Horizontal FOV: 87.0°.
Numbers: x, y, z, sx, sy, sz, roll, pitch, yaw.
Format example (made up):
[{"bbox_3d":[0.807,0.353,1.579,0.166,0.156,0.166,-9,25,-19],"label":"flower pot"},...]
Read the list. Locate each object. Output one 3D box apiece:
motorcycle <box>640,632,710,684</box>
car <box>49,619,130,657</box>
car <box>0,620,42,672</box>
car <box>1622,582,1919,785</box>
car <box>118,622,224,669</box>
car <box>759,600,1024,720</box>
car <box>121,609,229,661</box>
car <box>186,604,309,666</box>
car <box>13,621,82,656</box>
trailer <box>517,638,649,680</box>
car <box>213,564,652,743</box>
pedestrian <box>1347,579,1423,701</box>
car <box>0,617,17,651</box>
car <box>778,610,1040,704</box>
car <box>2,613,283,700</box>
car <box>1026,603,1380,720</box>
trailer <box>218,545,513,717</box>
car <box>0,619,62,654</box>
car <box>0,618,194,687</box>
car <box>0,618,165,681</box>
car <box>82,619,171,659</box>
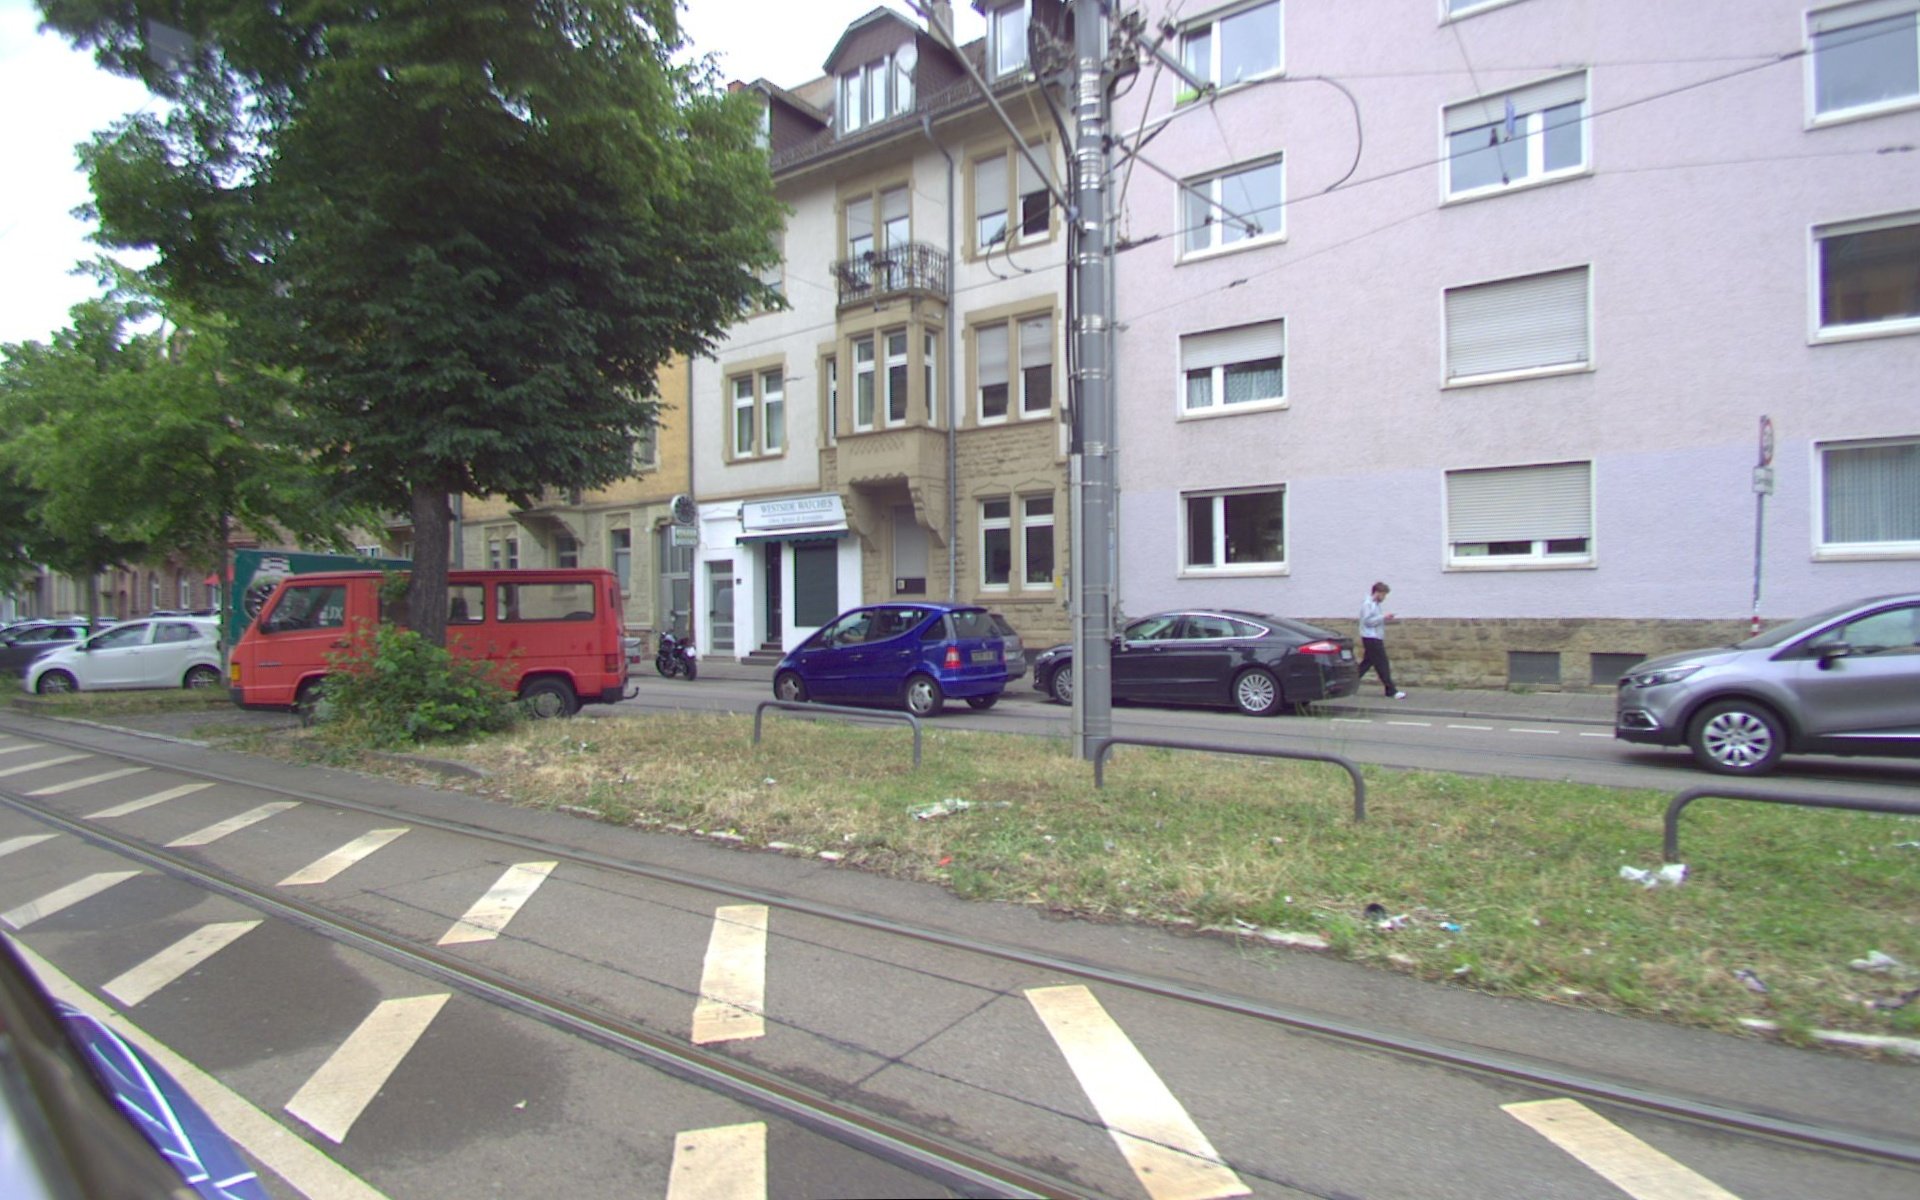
[{"bbox_3d":[-6.315,1.245,22.370,0.699,1.046,2.235,0,0,-38],"label":"motorcycle"},{"bbox_3d":[-39.458,1.680,45.845,4.543,1.639,1.725,-1,0,35],"label":"car"},{"bbox_3d":[-29.801,1.384,29.578,4.049,1.495,1.802,-1,0,-14],"label":"car"},{"bbox_3d":[7.898,0.626,8.287,4.121,1.546,1.630,-1,0,34],"label":"car"},{"bbox_3d":[-25.560,1.436,32.750,3.874,1.393,1.630,-1,0,35],"label":"car"},{"bbox_3d":[-1.043,0.805,14.813,3.619,1.546,1.631,-1,0,33],"label":"car"},{"bbox_3d":[-29.672,1.281,38.213,5.105,1.795,1.798,-1,0,35],"label":"car"},{"bbox_3d":[-24.716,1.169,35.052,5.082,1.967,1.865,-1,0,35],"label":"car"},{"bbox_3d":[-43.768,1.832,48.529,3.713,1.571,1.648,-1,0,35],"label":"car"},{"bbox_3d":[-8.956,1.369,23.981,3.068,0.899,1.442,-1,-2,34],"label":"trailer"},{"bbox_3d":[-6.418,0.592,12.972,4.687,1.989,1.965,-1,-1,-16],"label":"car"},{"bbox_3d":[6.466,0.594,15.391,0.898,1.780,0.791,-1,-1,34],"label":"pedestrian"},{"bbox_3d":[-44.576,1.547,46.087,3.874,1.515,1.630,-1,0,35],"label":"car"},{"bbox_3d":[-0.971,0.939,17.841,4.558,1.454,1.621,-1,0,34],"label":"car"},{"bbox_3d":[-15.358,1.025,19.228,3.799,1.474,1.694,-1,0,-12],"label":"car"},{"bbox_3d":[3.428,0.815,14.749,4.750,1.454,1.621,-1,0,34],"label":"car"},{"bbox_3d":[-8.829,0.414,15.420,3.607,2.362,1.937,-1,-1,-22],"label":"trailer"},{"bbox_3d":[-47.280,1.823,51.269,4.310,1.641,1.753,-1,0,35],"label":"car"},{"bbox_3d":[-20.678,1.199,23.448,4.268,1.445,1.903,-1,0,-12],"label":"car"},{"bbox_3d":[-23.166,1.236,25.459,4.609,1.445,1.904,-1,0,-15],"label":"car"},{"bbox_3d":[-34.617,1.568,42.005,4.543,1.553,1.725,-1,0,35],"label":"car"}]
